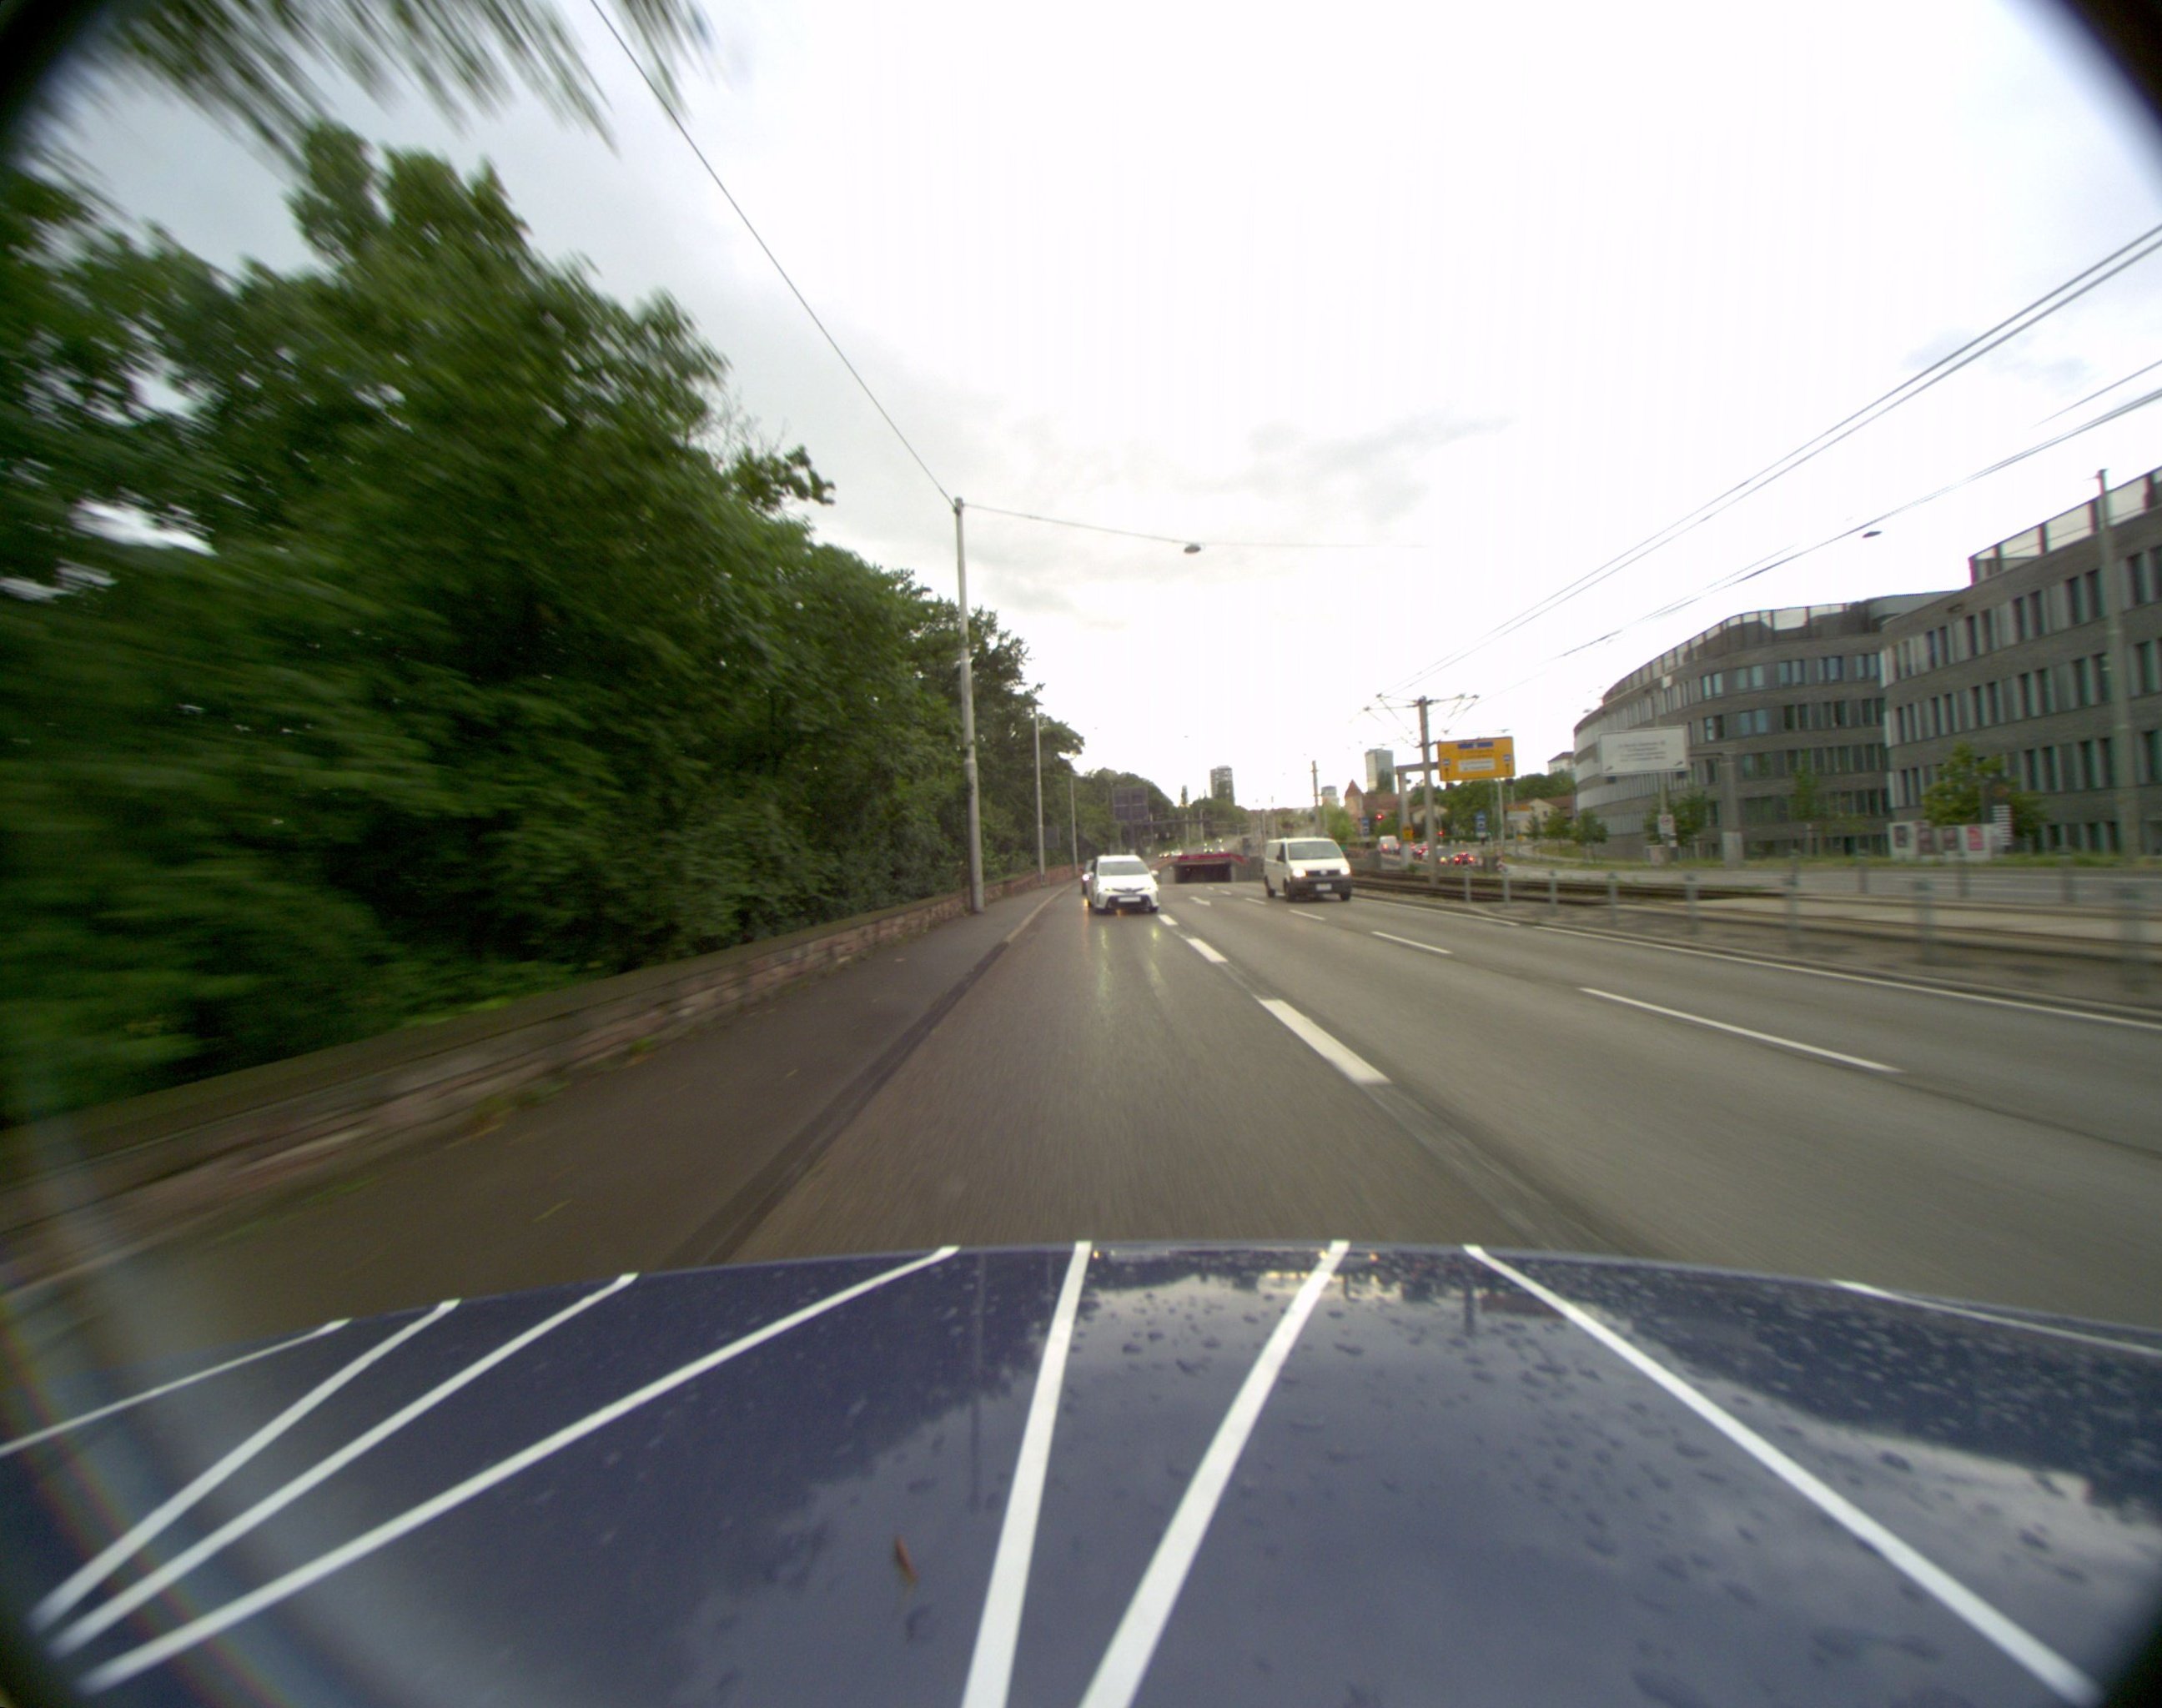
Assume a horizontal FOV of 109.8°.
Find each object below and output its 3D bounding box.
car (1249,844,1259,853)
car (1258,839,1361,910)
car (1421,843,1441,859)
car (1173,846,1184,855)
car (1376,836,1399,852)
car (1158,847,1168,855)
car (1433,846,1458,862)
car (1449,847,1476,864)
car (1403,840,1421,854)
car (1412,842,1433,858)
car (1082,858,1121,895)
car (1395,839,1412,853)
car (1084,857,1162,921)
[{"bbox_3d":[39.951,-1.198,175.342,1.997,1.936,4.002,-2,1,10],"label":"car"},{"bbox_3d":[7.142,0.581,24.305,1.914,1.947,4.718,-3,0,1],"label":"car"},{"bbox_3d":[43.226,-0.365,93.873,1.668,1.893,4.004,-2,1,17],"label":"car"},{"bbox_3d":[24.114,-0.820,188.120,1.998,2.002,3.999,-2,1,1],"label":"car"},{"bbox_3d":[48.680,-1.609,120.817,2.335,2.453,7.032,-2,1,14],"label":"car"},{"bbox_3d":[20.597,-0.749,191.520,1.998,2.002,3.999,-2,1,1],"label":"car"},{"bbox_3d":[42.358,0.031,88.305,1.834,1.787,4.220,-1,0,15],"label":"car"},{"bbox_3d":[41.422,0.132,82.637,1.834,1.787,4.220,-1,0,15],"label":"car"},{"bbox_3d":[46.250,-0.961,106.208,1.668,1.808,4.004,-2,1,15],"label":"car"},{"bbox_3d":[44.808,-0.551,99.761,1.668,1.893,4.003,-2,1,13],"label":"car"},{"bbox_3d":[0.929,1.008,35.329,1.663,1.534,3.709,-2,0,1],"label":"car"},{"bbox_3d":[48.122,-1.215,113.562,1.668,1.893,4.004,-2,1,14],"label":"car"},{"bbox_3d":[1.139,0.933,22.200,1.982,1.564,4.319,-2,0,1],"label":"car"}]
